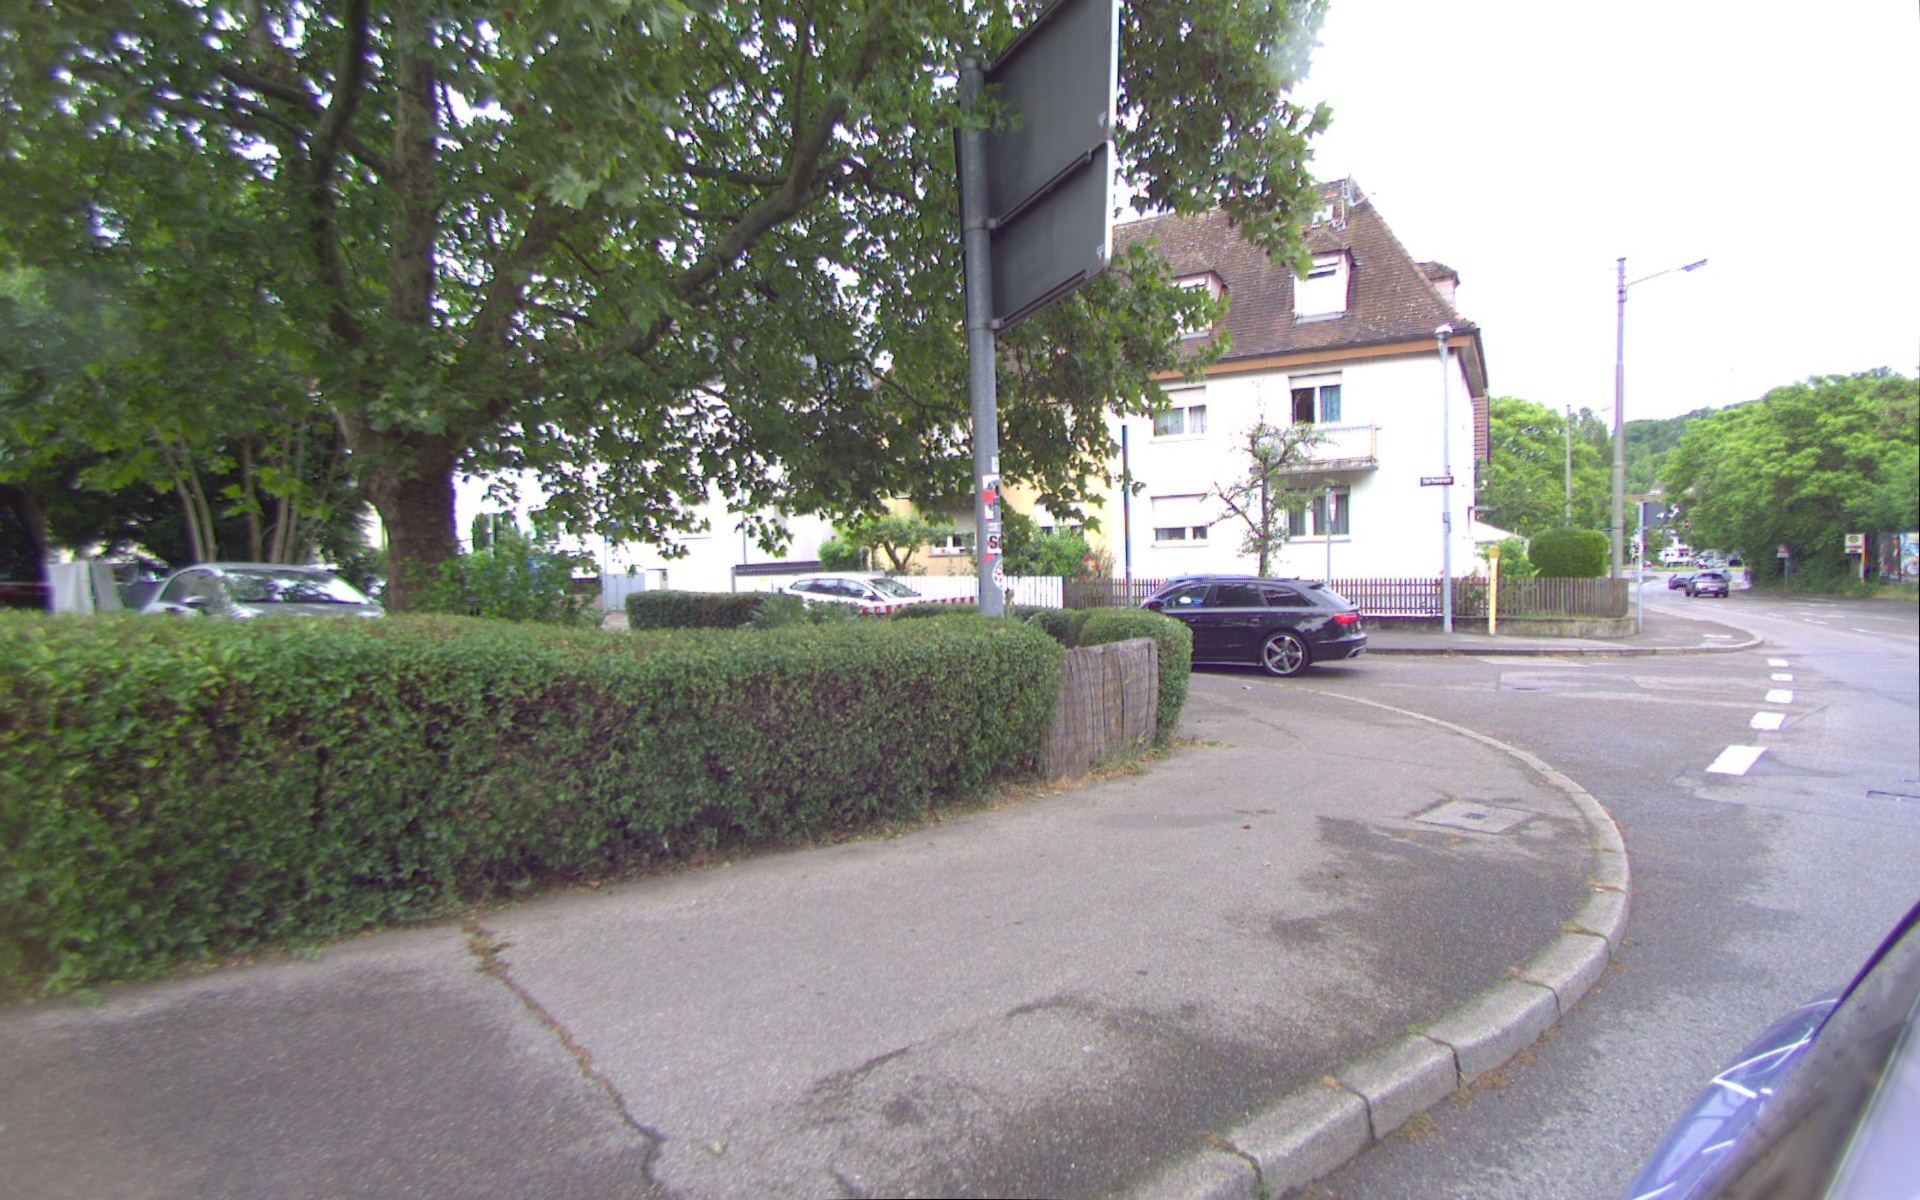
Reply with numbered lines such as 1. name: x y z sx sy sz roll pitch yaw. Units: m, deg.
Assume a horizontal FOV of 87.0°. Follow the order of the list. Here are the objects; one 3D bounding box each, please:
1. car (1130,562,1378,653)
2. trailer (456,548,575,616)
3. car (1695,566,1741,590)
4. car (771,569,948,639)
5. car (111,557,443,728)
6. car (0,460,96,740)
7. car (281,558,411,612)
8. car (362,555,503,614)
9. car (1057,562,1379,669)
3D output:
1. car: 5.439 0.067 18.872 4.096 1.498 1.865 2 2 32
2. trailer: -14.135 -0.596 32.151 3.456 2.038 1.657 1 2 27
3. car: 47.808 -1.412 63.898 1.886 1.479 3.957 1 2 31
4. car: -2.319 0.049 23.145 3.752 1.471 1.754 1 1 30
5. car: -7.717 0.342 11.340 3.974 1.599 1.800 1 2 35
6. car: -8.818 -0.022 7.747 4.376 1.956 1.980 1 2 29
7. car: -22.273 -0.573 36.698 4.536 1.862 1.981 1 2 28
8. car: -17.712 -0.548 33.969 4.536 1.862 1.981 1 2 28
9. car: 4.116 0.159 16.272 4.768 1.498 1.870 1 2 25
